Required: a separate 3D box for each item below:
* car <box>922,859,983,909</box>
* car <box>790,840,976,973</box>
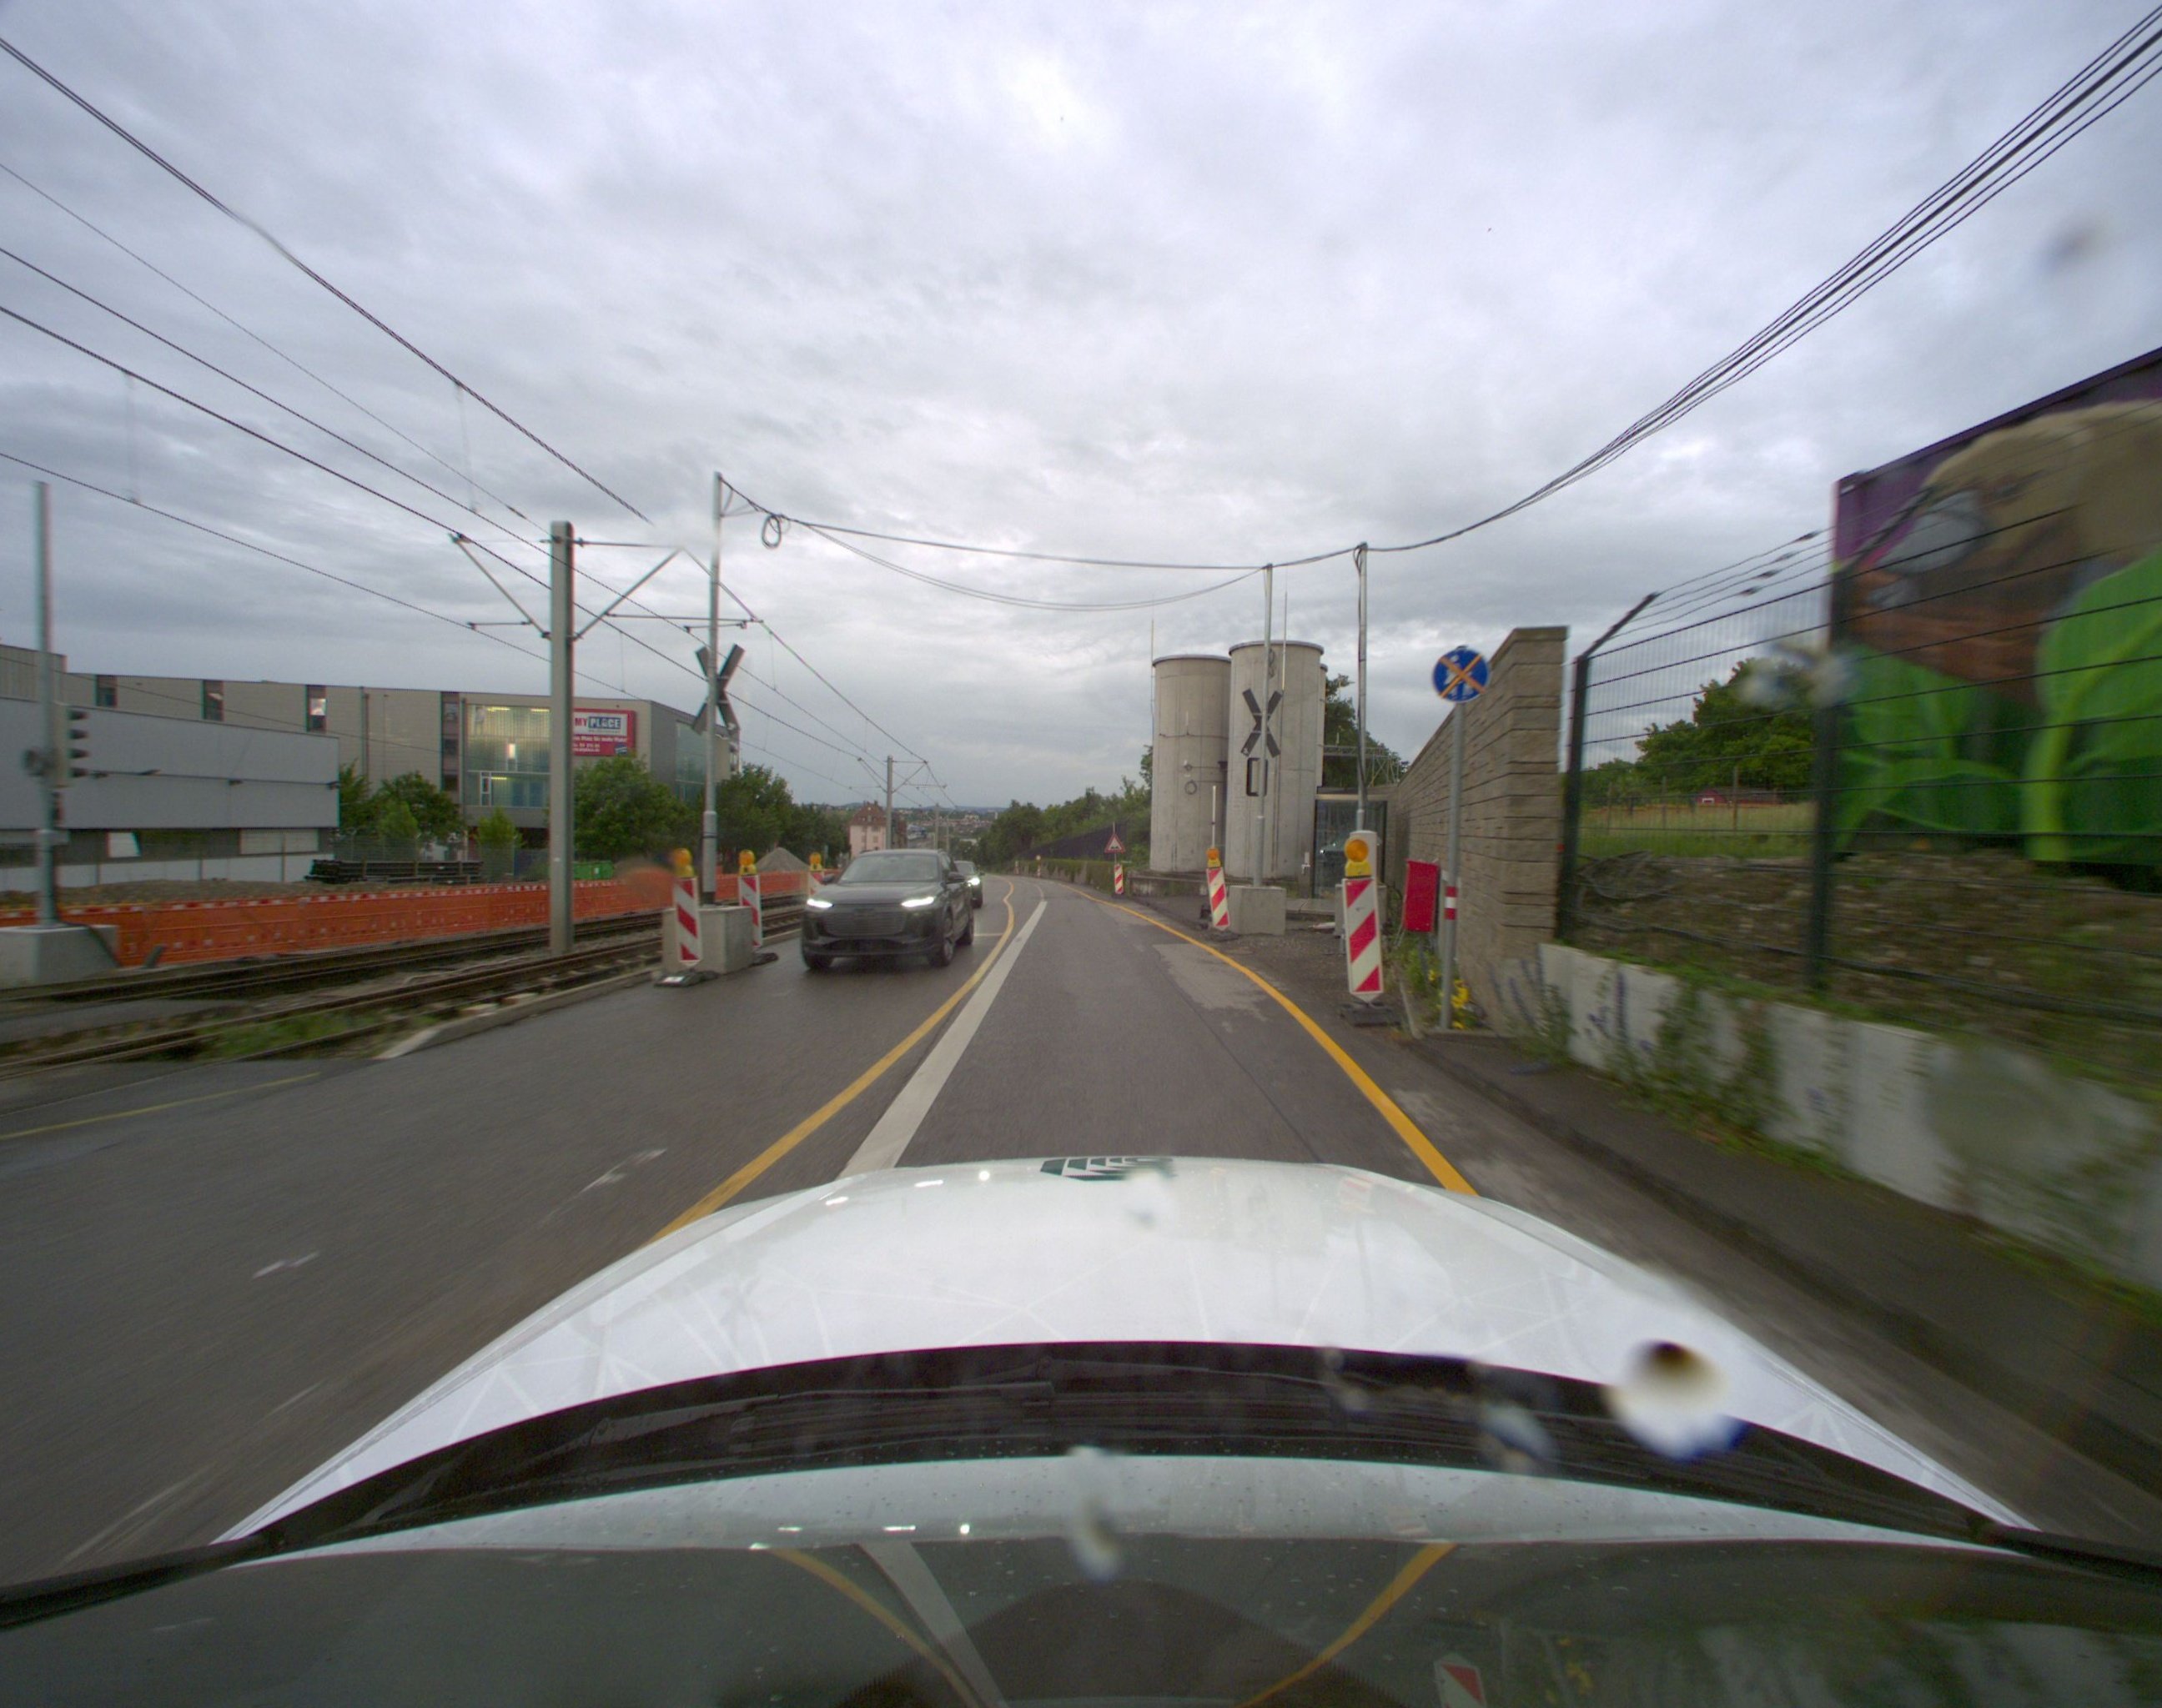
[{"bbox_3d":[-4.166,0.936,26.942,1.786,1.464,3.942,-2,0,-7],"label":"car"},{"bbox_3d":[-2.803,0.655,12.624,1.989,1.678,4.484,0,0,-3],"label":"car"}]
